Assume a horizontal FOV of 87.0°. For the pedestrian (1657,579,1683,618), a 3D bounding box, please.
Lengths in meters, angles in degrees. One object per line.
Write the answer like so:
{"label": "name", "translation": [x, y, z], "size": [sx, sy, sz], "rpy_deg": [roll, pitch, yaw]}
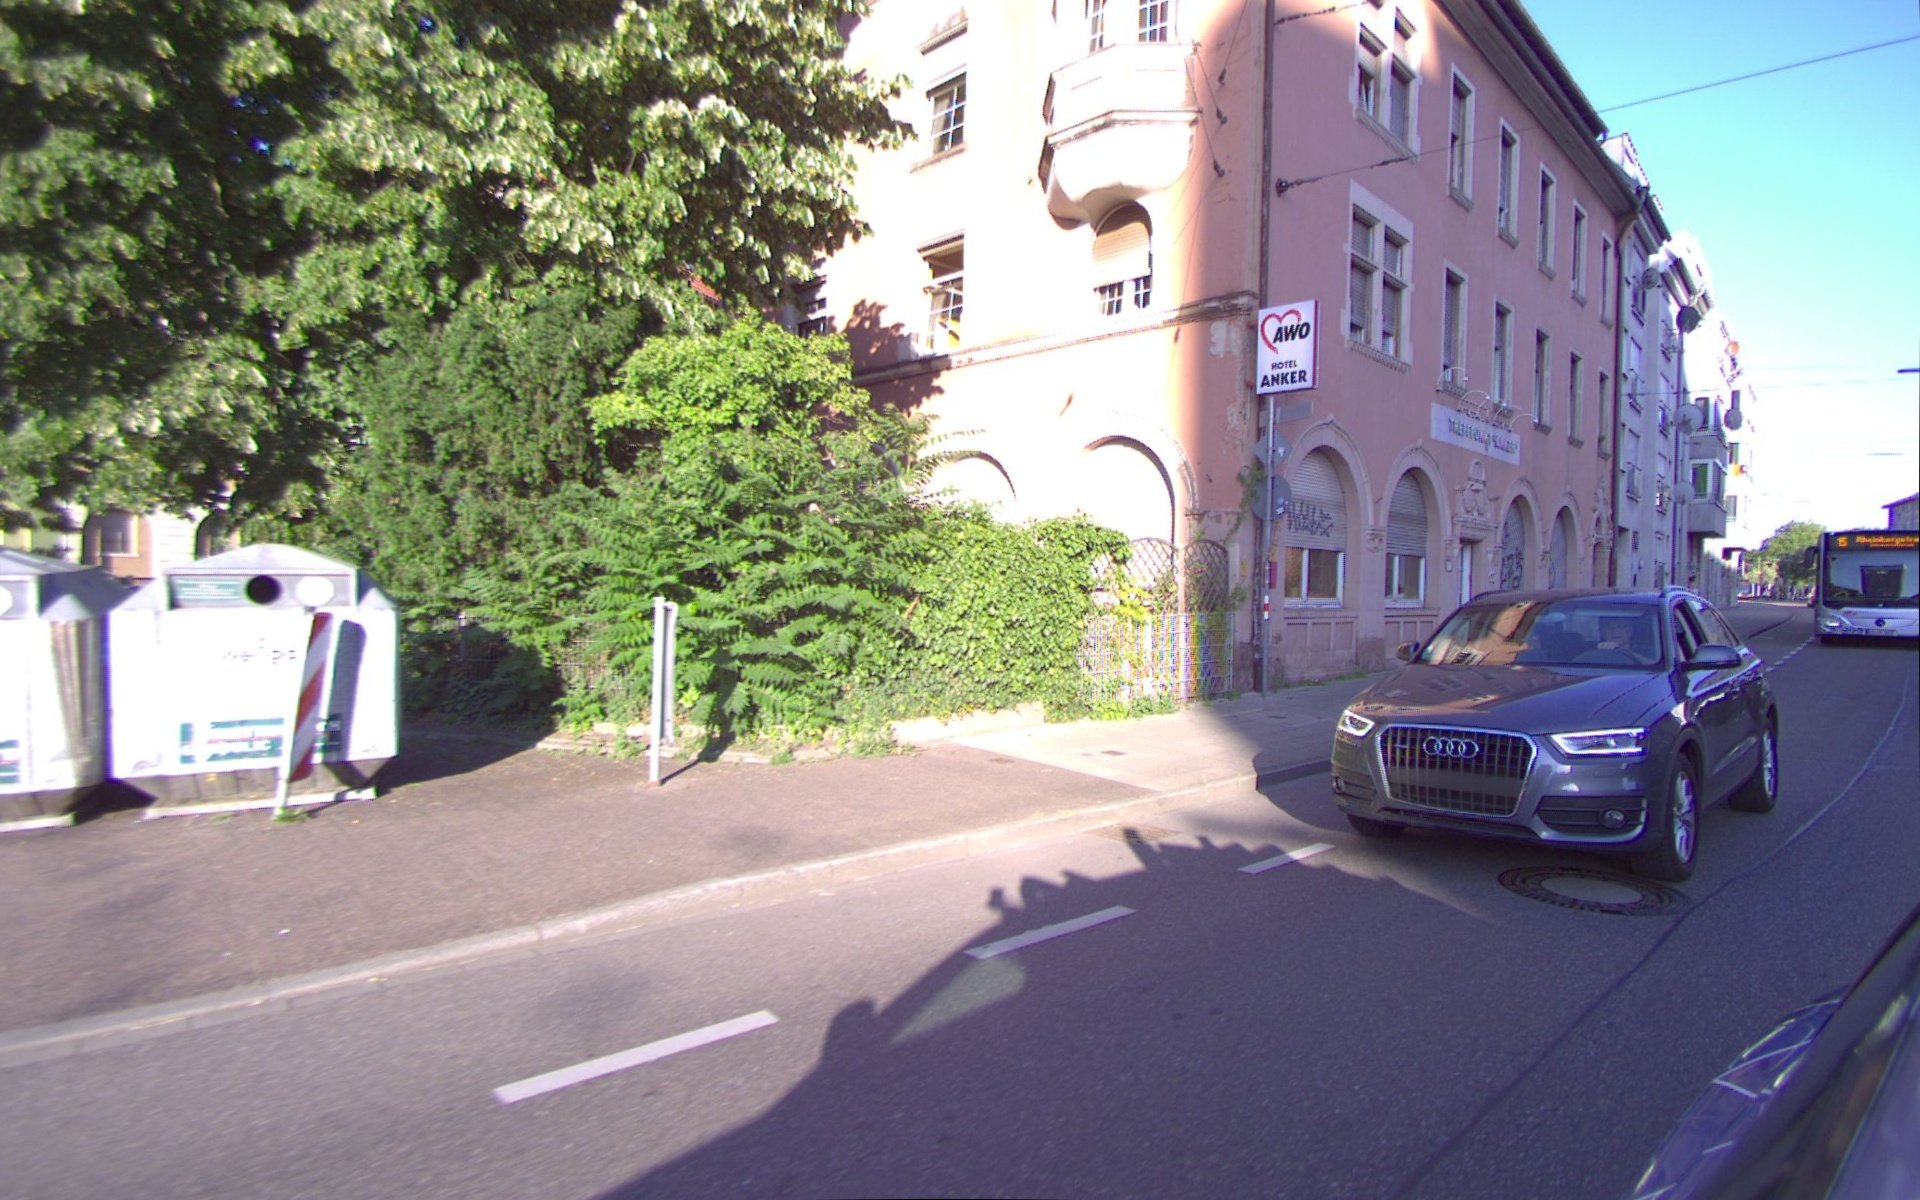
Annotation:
{"label": "pedestrian", "translation": [23.470, -0.063, 33.451], "size": [0.587, 1.266, 0.575], "rpy_deg": [2, 2, 44]}

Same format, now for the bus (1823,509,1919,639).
{"label": "bus", "translation": [26.090, -0.670, 28.434], "size": [2.722, 3.116, 10.443], "rpy_deg": [1, 1, 41]}

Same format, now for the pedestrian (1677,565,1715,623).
{"label": "pedestrian", "translation": [23.737, -0.202, 32.642], "size": [0.830, 1.793, 0.980], "rpy_deg": [2, 2, 44]}

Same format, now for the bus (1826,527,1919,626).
{"label": "bus", "translation": [32.927, -0.789, 36.341], "size": [2.703, 3.116, 10.443], "rpy_deg": [1, 1, 41]}

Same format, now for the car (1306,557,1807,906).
{"label": "car", "translation": [4.103, 0.598, 6.668], "size": [3.999, 1.607, 1.769], "rpy_deg": [0, 0, -43]}

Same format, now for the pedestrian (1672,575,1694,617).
{"label": "pedestrian", "translation": [24.315, -0.147, 34.014], "size": [0.513, 1.361, 0.600], "rpy_deg": [3, 3, 40]}
